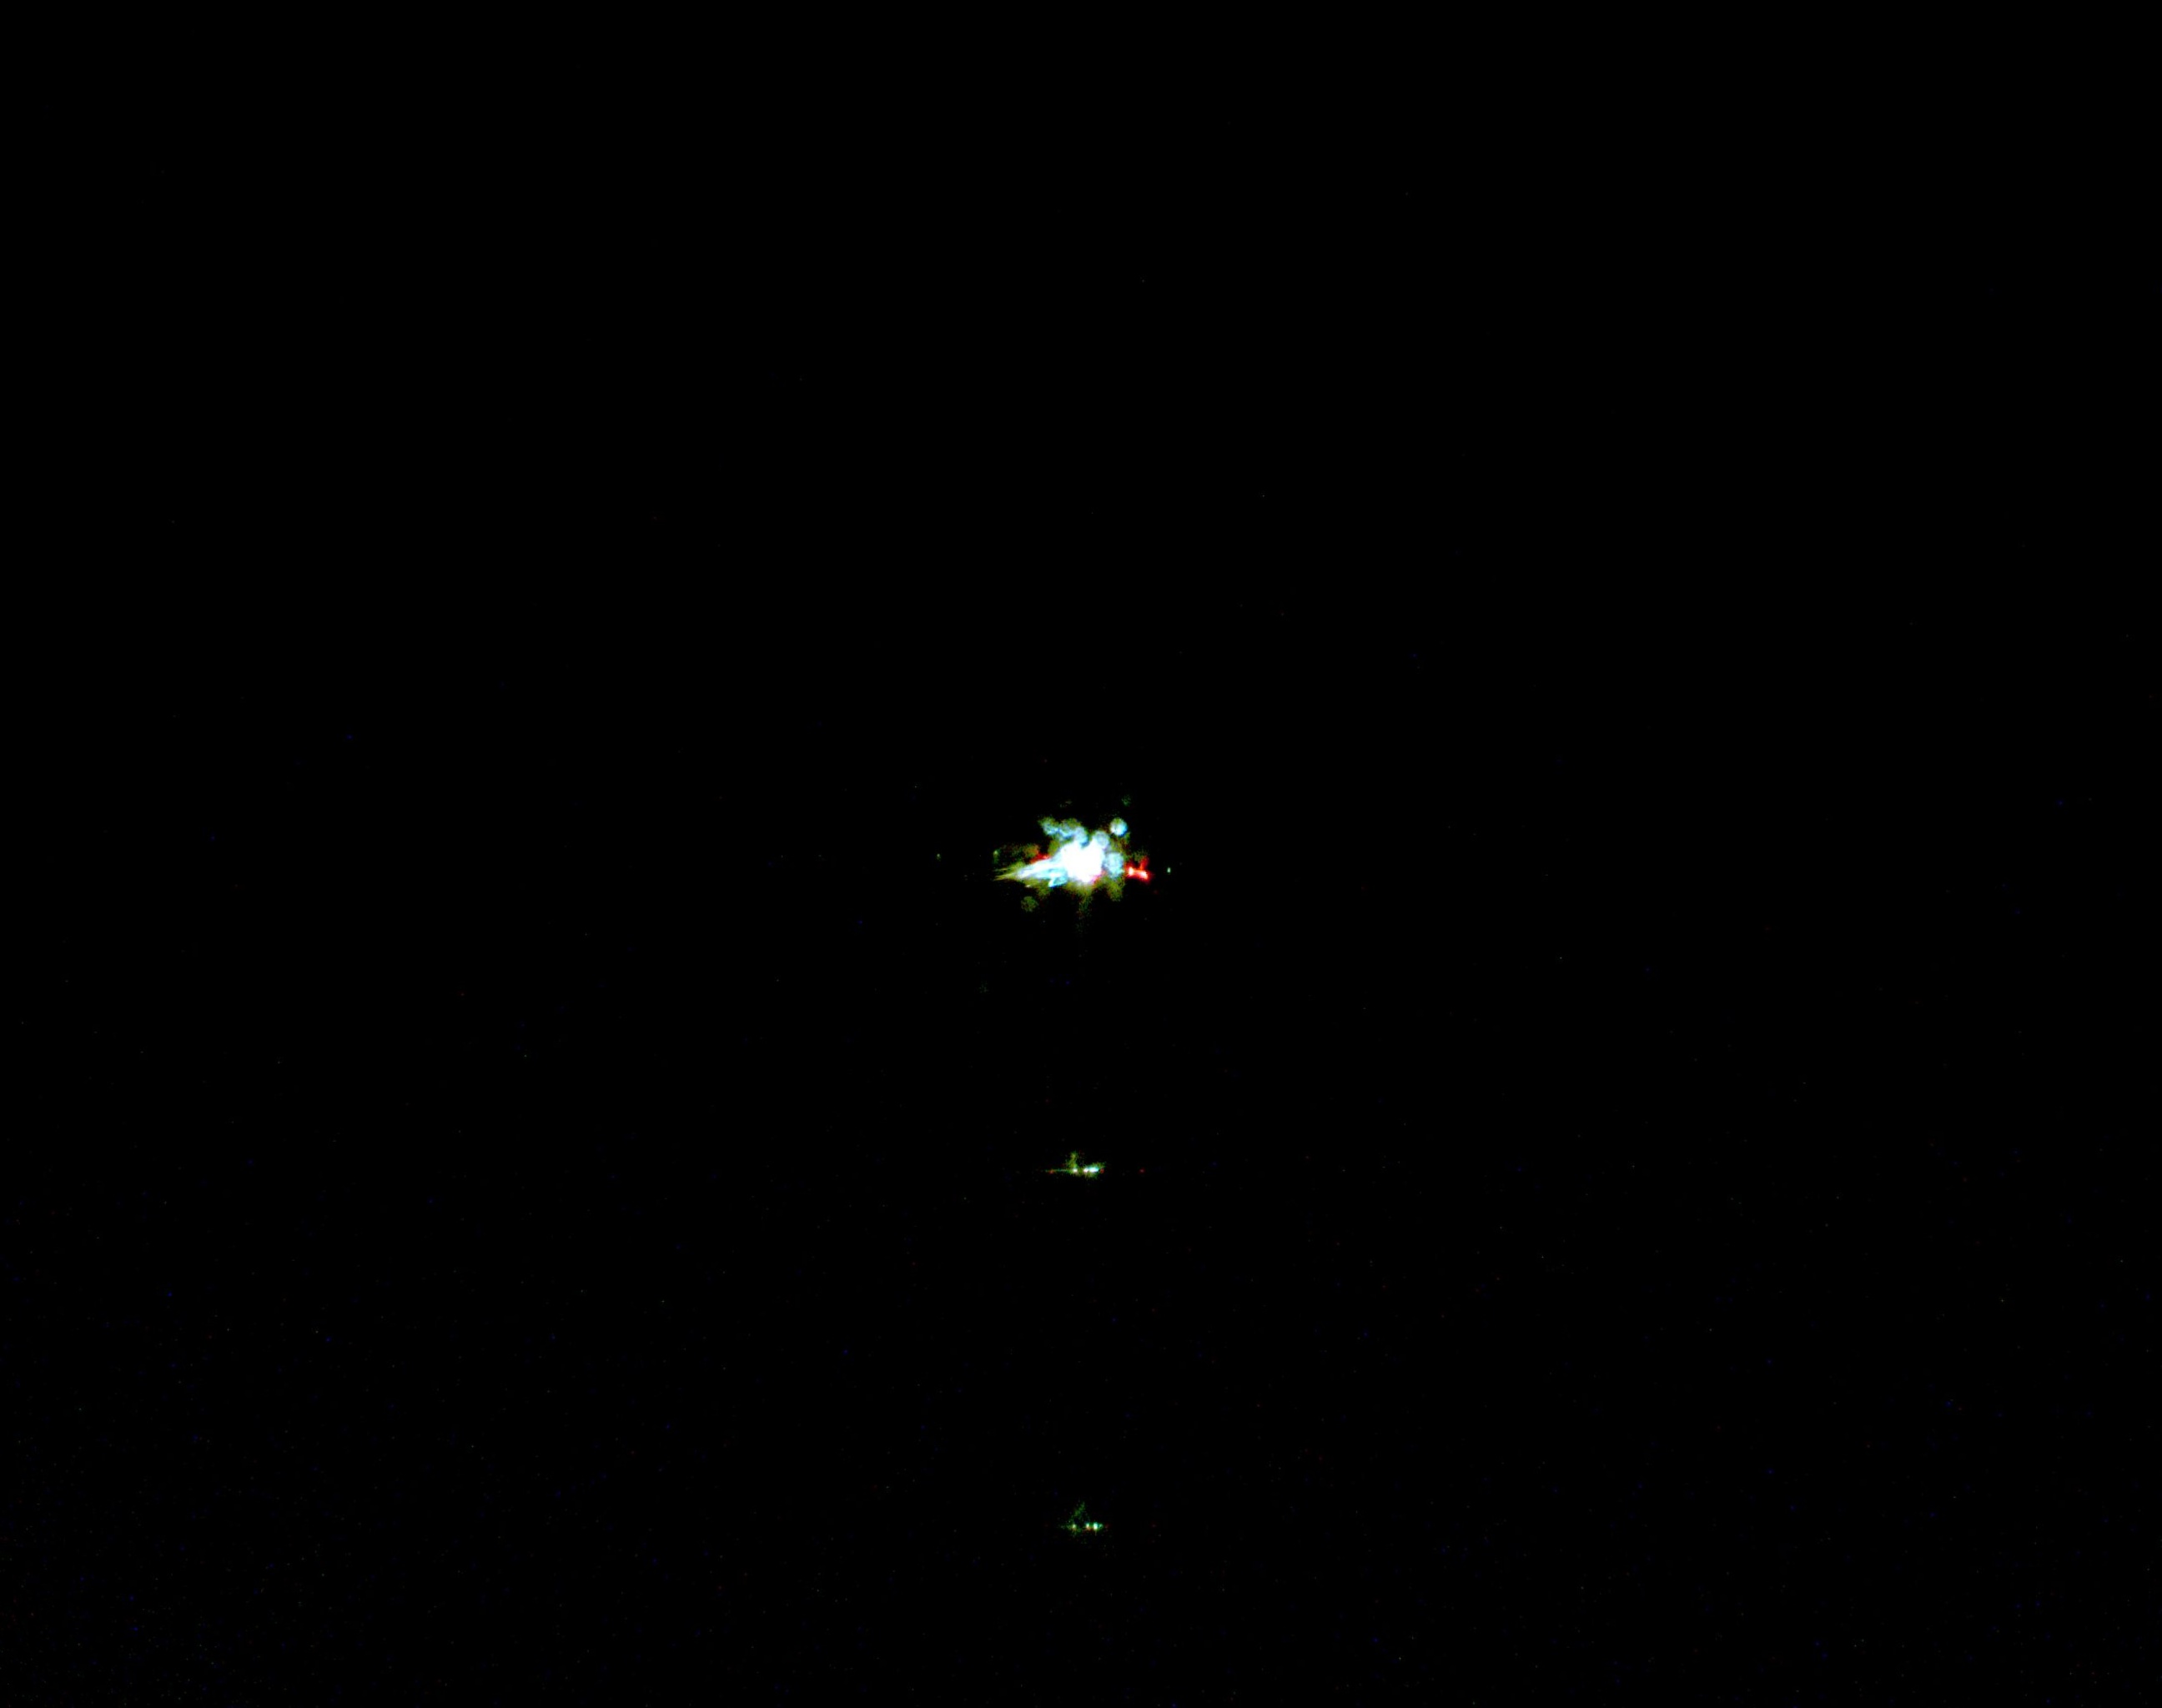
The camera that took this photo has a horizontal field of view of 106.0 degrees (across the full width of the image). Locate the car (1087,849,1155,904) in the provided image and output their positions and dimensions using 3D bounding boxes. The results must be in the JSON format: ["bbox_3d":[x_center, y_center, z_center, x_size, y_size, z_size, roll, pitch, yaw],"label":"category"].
[{"bbox_3d":[1.605,0.919,33.149,2.448,1.958,4.914,-3,-2,2],"label":"car"}]
